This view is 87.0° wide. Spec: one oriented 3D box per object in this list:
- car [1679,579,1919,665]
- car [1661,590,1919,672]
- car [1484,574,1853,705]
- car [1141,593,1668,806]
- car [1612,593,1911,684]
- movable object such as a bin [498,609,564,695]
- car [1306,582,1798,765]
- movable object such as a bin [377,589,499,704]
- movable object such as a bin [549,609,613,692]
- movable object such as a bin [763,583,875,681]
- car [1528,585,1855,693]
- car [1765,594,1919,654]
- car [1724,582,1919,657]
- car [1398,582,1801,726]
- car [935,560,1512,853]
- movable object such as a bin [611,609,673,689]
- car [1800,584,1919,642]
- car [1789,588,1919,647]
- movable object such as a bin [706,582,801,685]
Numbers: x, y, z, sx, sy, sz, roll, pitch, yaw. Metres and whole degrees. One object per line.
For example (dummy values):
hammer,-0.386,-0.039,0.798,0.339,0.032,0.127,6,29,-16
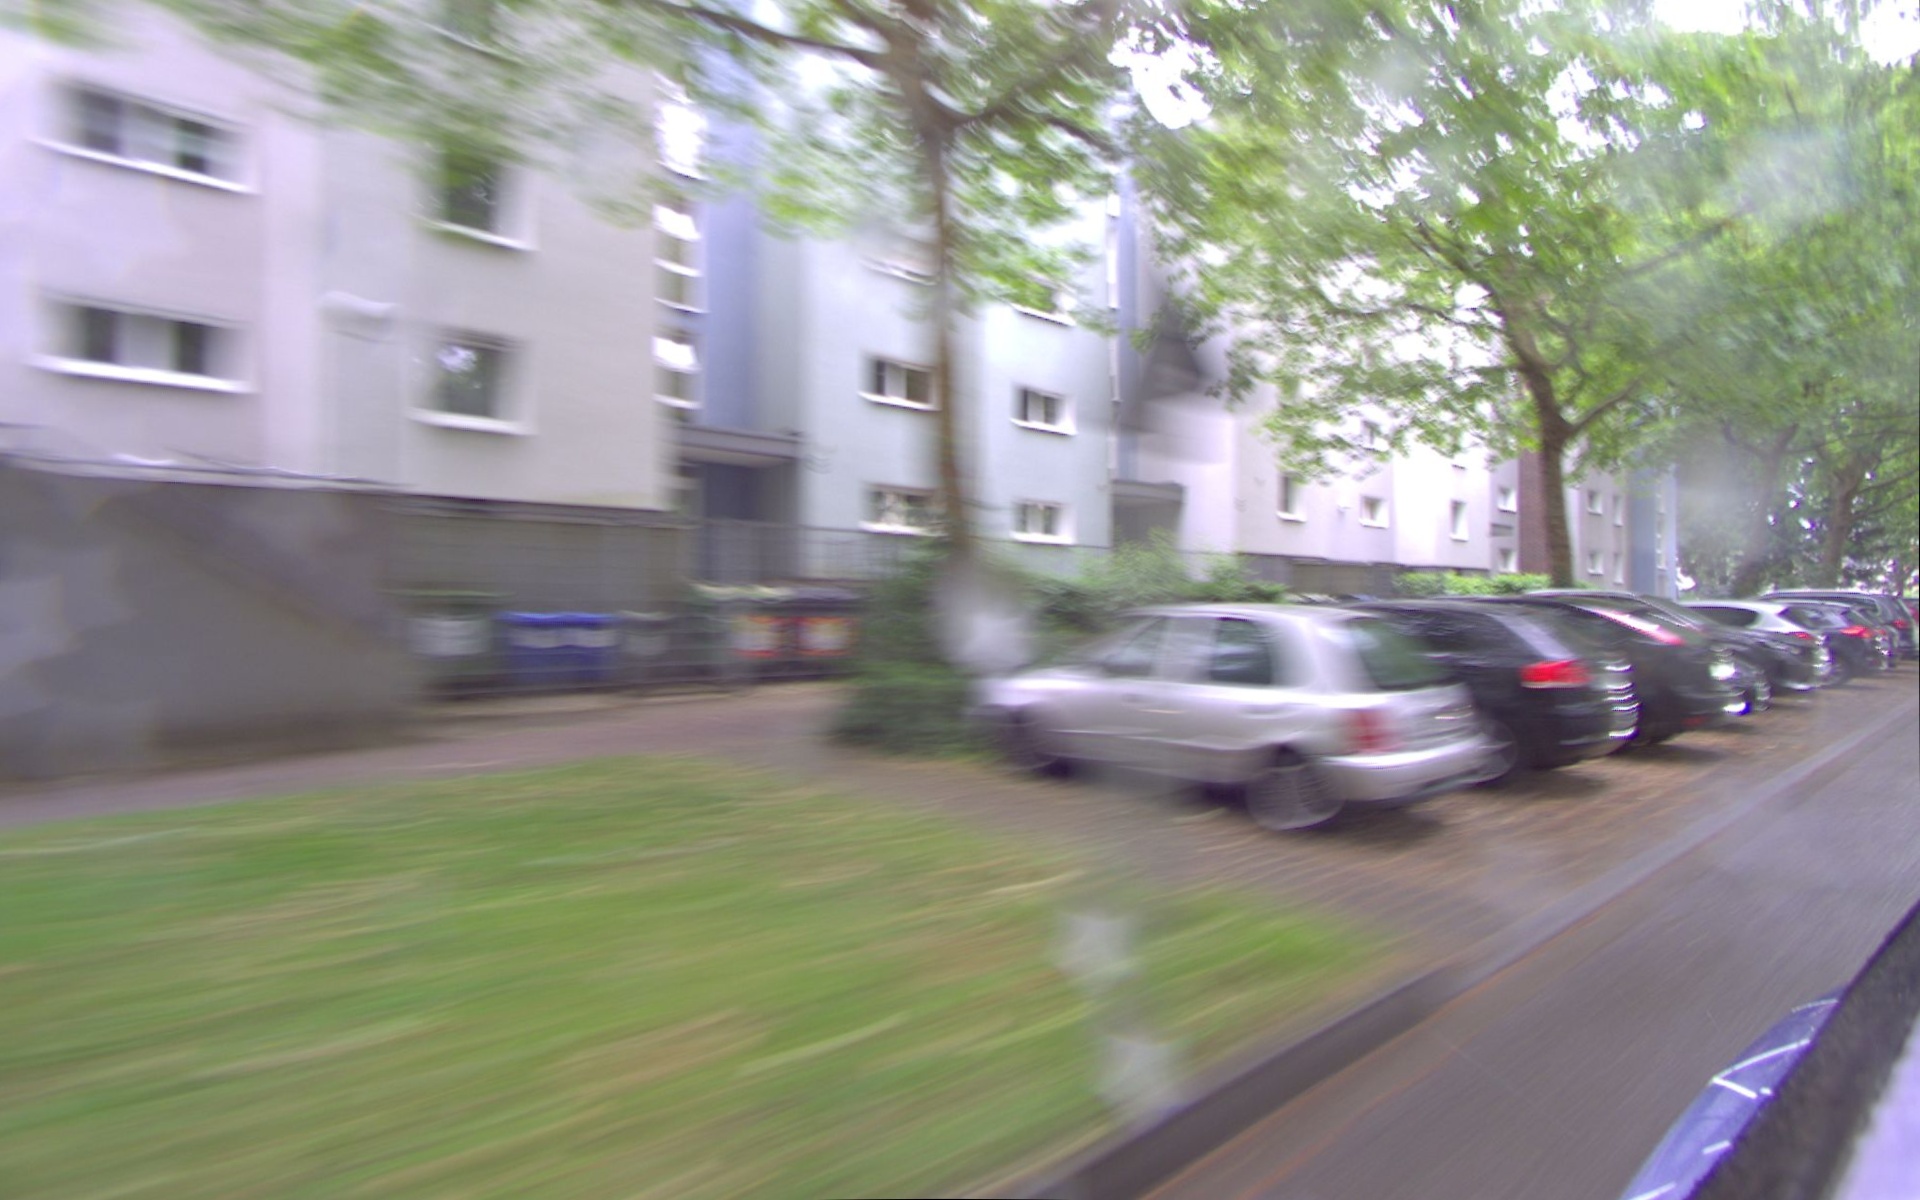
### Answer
car,19.288,0.494,23.130,1.787,1.784,4.344,0,-2,-40
car,17.312,0.627,21.228,1.602,1.557,3.993,0,-2,-40
car,10.470,0.529,15.203,1.880,1.677,4.216,0,-1,-41
car,3.691,0.673,8.990,1.649,1.456,3.994,0,0,-40
car,14.362,0.660,18.307,1.657,1.460,4.038,0,-2,-43
movable object such as a bin,-5.618,0.660,13.241,0.611,1.080,0.688,1,-1,-40
car,5.985,0.609,10.636,1.832,1.532,4.108,0,0,-40
movable object such as a bin,-6.375,0.534,12.370,1.153,1.327,0.904,0,0,-41
movable object such as a bin,-5.136,0.664,13.703,0.611,1.080,0.688,1,-1,-40
movable object such as a bin,-2.221,0.477,15.953,1.321,1.456,1.205,0,0,-41
car,12.195,0.599,17.087,1.717,1.604,4.214,0,-1,-43
car,24.099,0.631,26.885,1.770,1.532,3.991,0,-2,-42
car,22.076,0.493,25.673,1.769,1.750,3.994,0,-2,-40
car,8.004,0.600,12.943,1.750,1.550,4.045,0,-1,-43
car,1.695,0.573,7.591,1.649,1.598,3.994,0,0,-40
movable object such as a bin,-4.445,0.664,14.151,0.611,1.080,0.661,1,-1,-41
car,29.260,0.432,31.920,3.822,1.719,1.824,2,0,22
car,26.065,0.477,28.670,1.706,1.556,3.714,0,1,-38
movable object such as a bin,-3.068,0.474,15.047,1.094,1.456,0.865,0,-1,-41
